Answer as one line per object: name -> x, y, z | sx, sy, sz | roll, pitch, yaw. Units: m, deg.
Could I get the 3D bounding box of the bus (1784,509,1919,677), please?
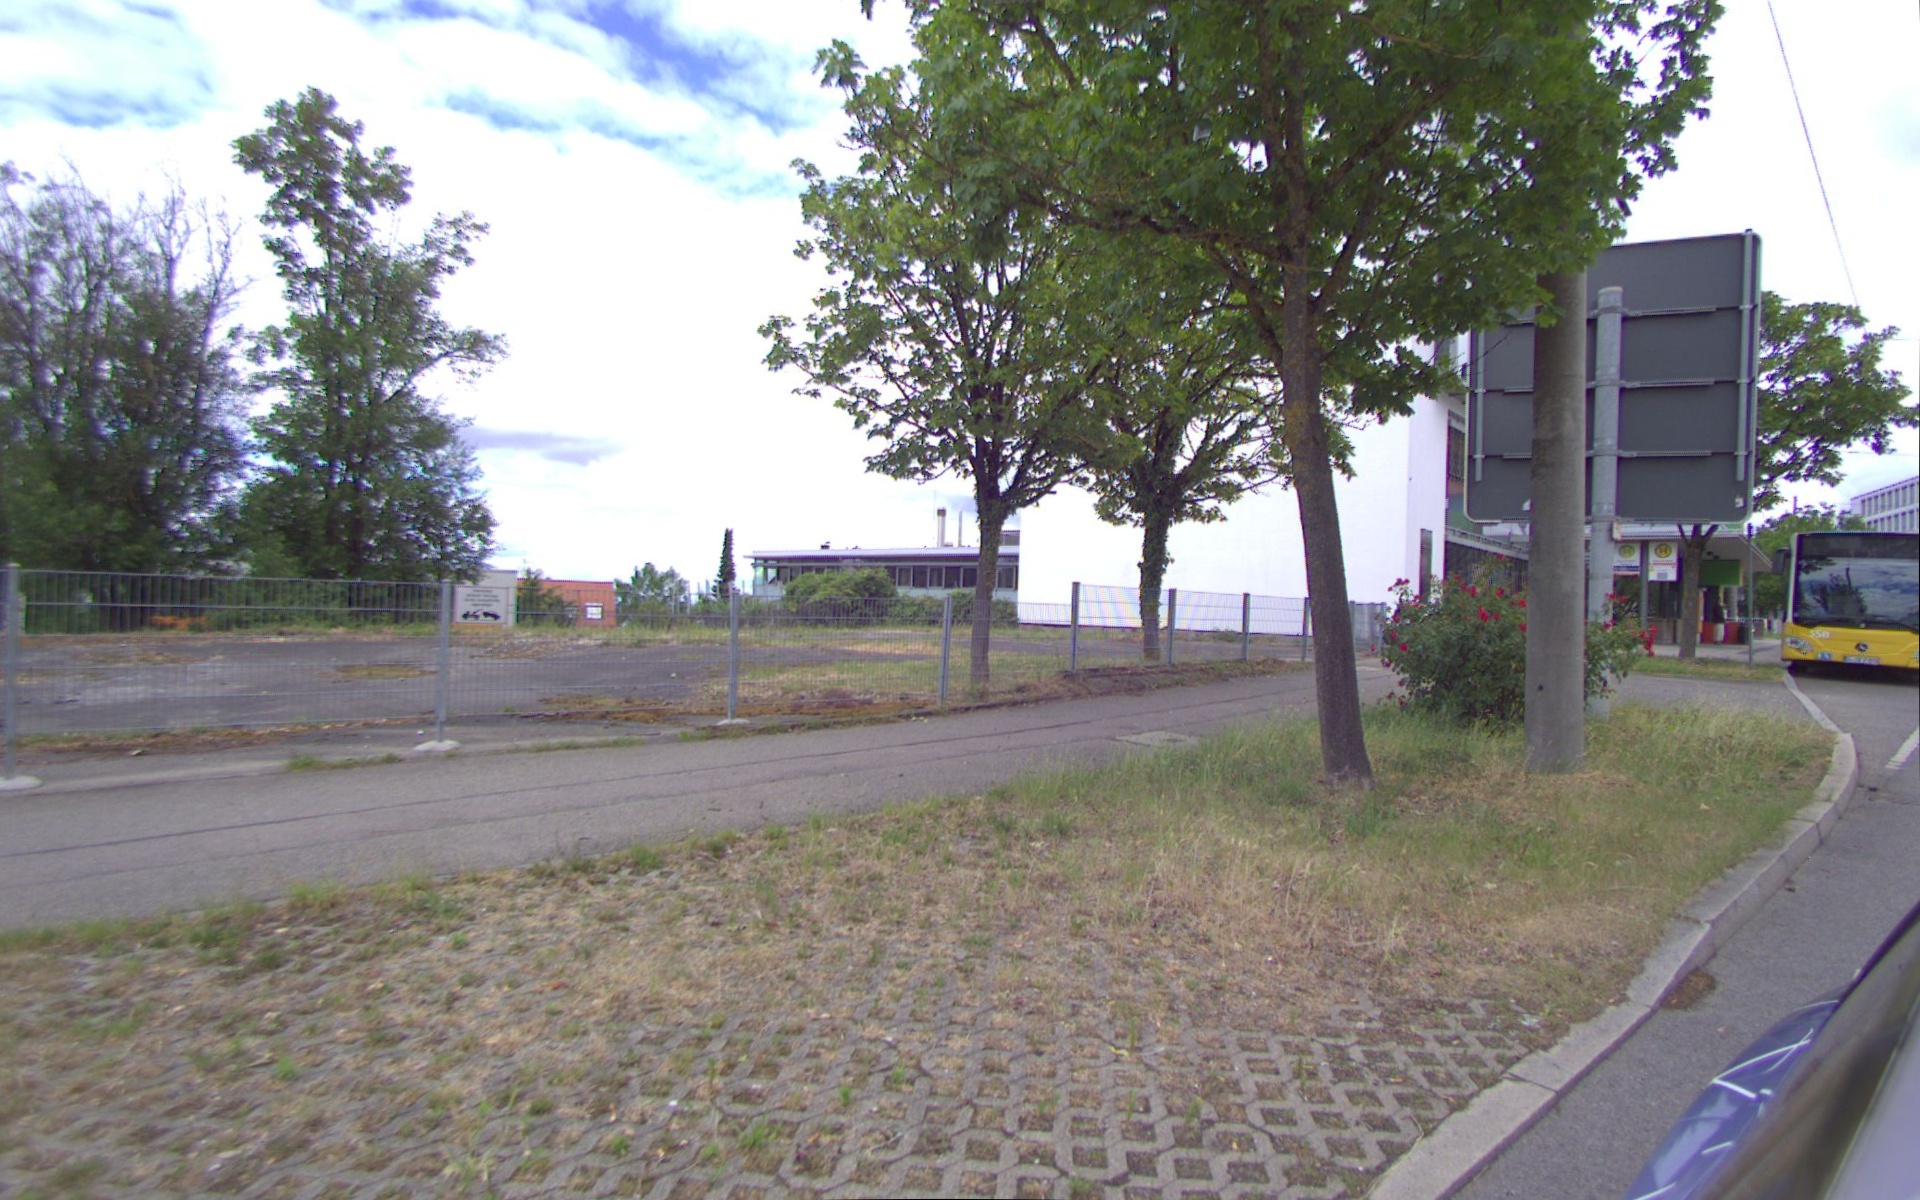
bus -> 20.967, -0.112, 22.942 | 2.713, 3.203, 8.982 | 4, 2, 44

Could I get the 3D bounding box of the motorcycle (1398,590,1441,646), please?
motorcycle -> 10.478, 0.388, 23.109 | 0.575, 1.237, 1.575 | 1, 1, 13

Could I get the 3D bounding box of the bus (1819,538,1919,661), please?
bus -> 27.100, 0.027, 29.359 | 2.713, 3.148, 8.727 | 2, 0, 44
